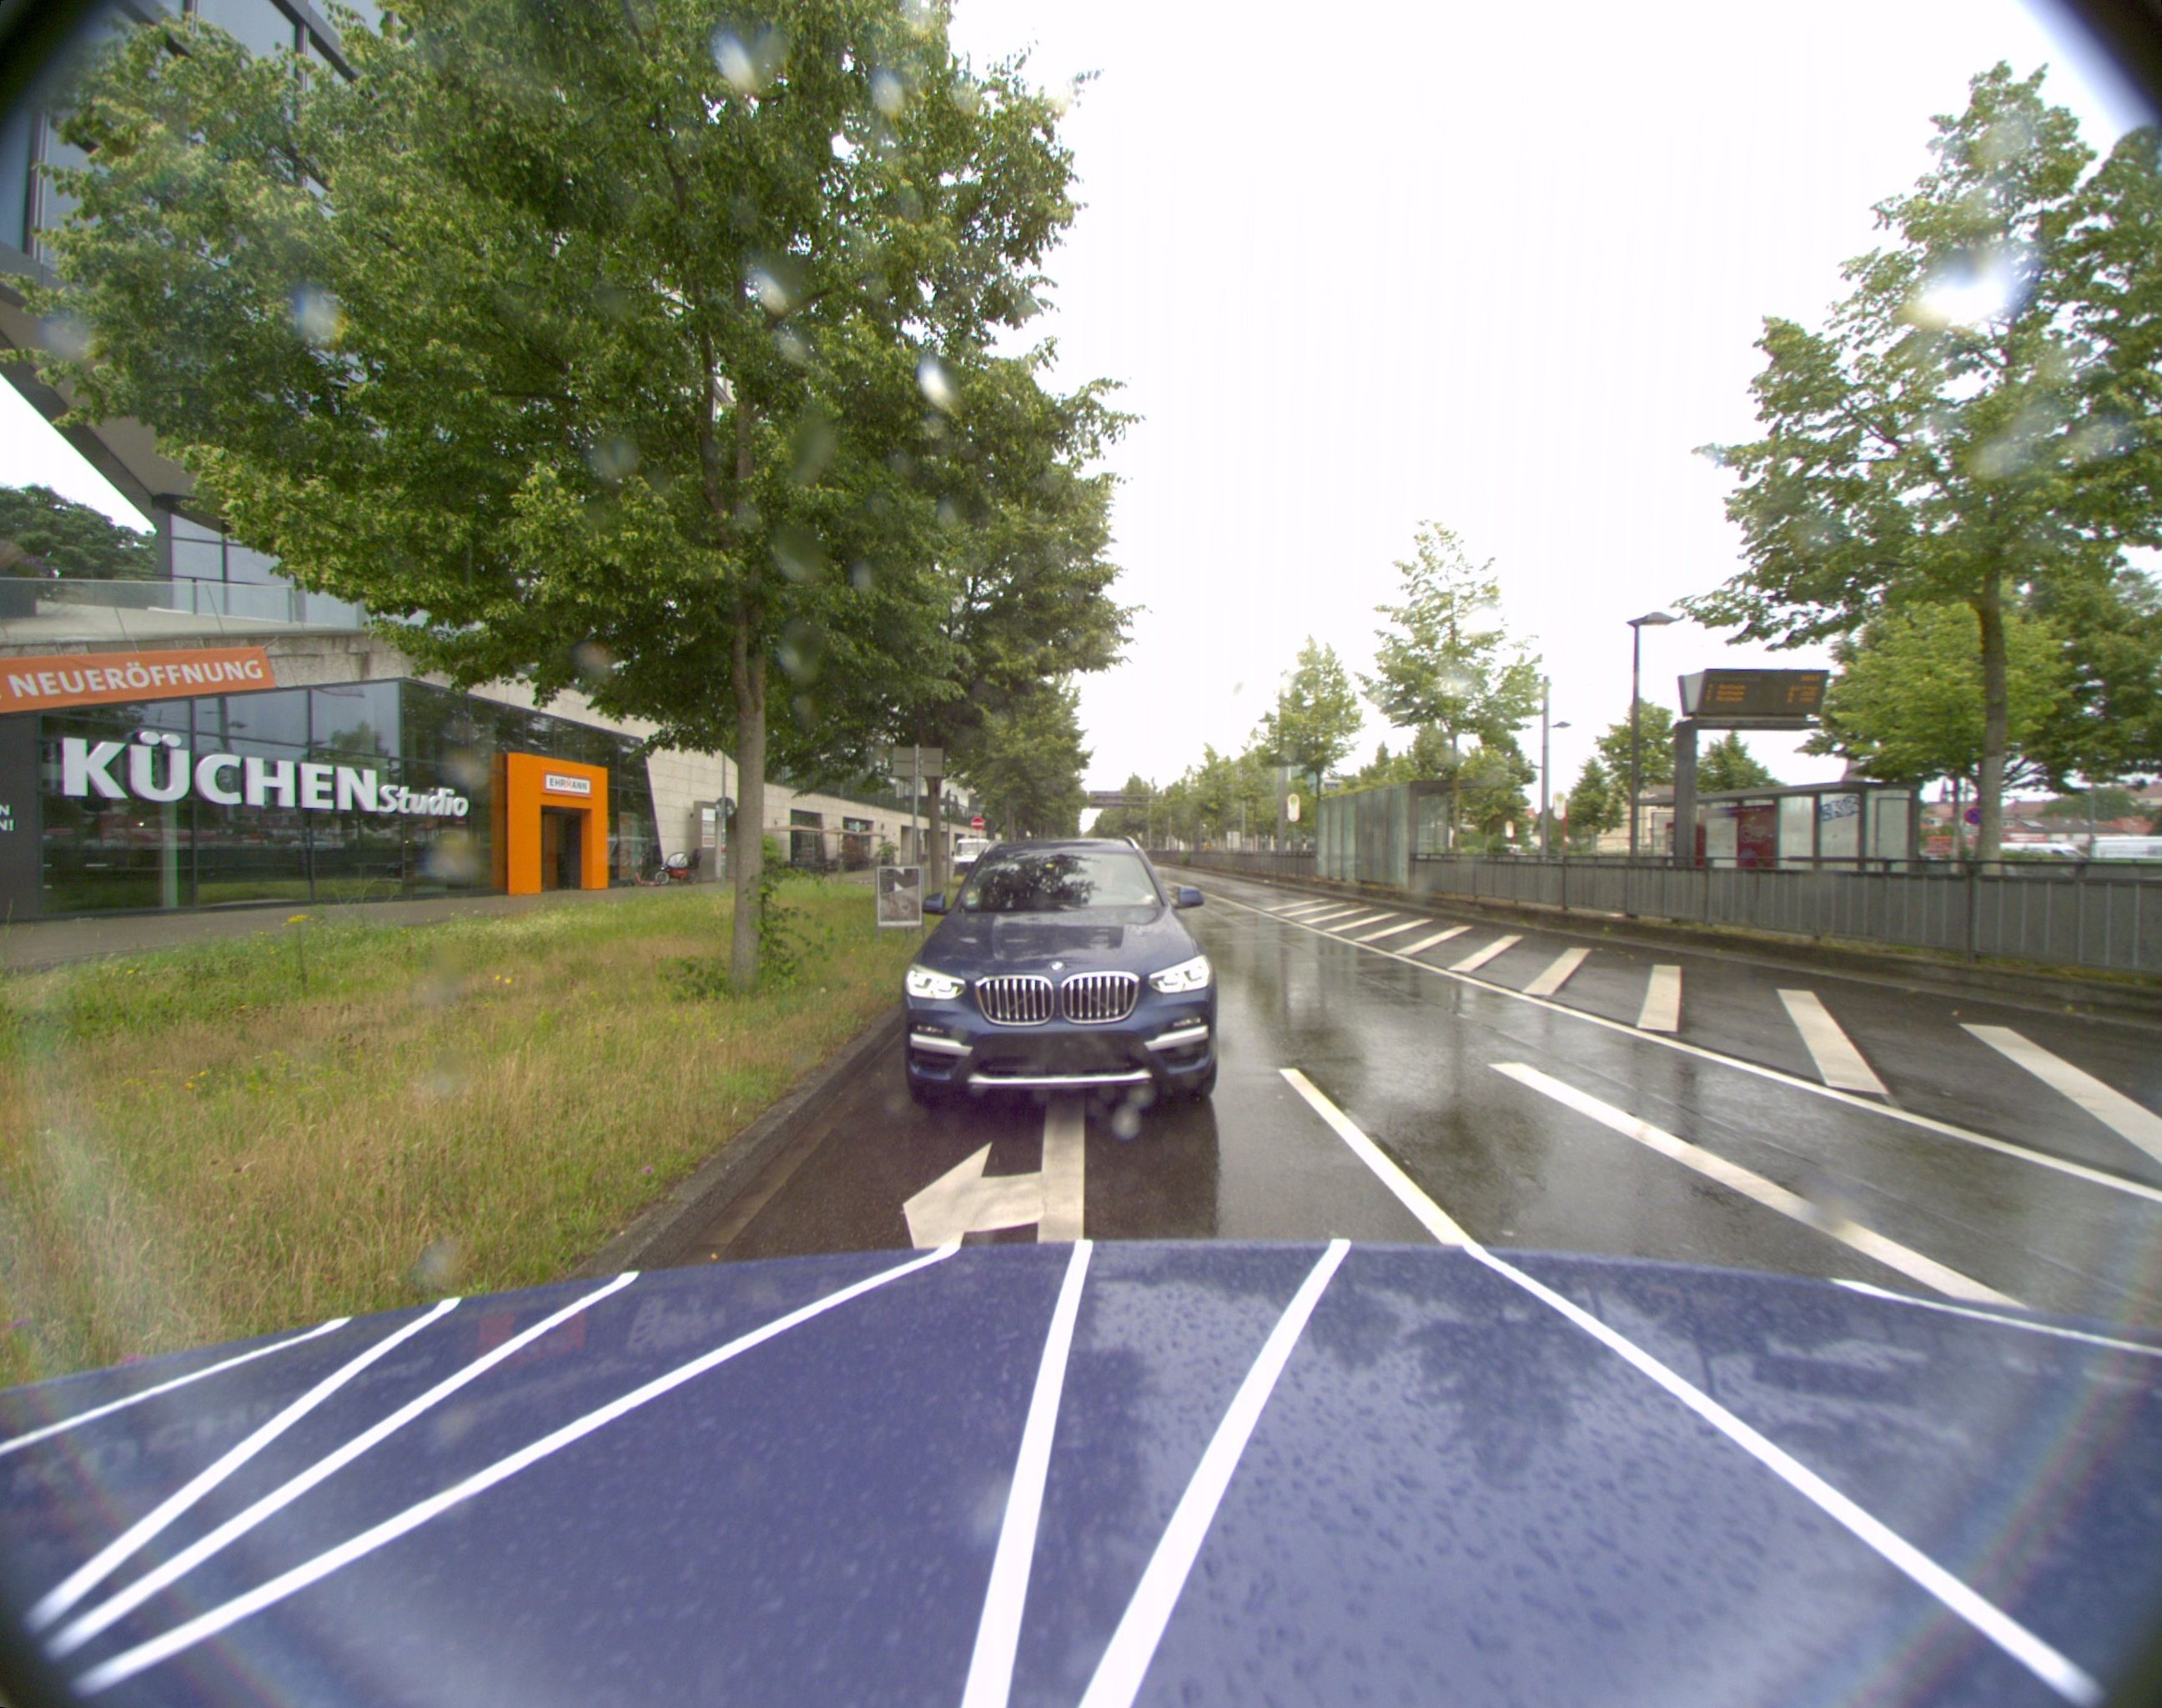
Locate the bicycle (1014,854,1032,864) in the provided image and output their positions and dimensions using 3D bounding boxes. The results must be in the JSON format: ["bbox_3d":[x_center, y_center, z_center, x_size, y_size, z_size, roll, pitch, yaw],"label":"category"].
[{"bbox_3d":[-5.578,0.496,72.987,1.699,0.940,0.395,-2,2,-4],"label":"bicycle"}]

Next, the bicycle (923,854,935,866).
[{"bbox_3d":[-12.920,0.484,64.657,0.402,0.940,1.859,-1,1,8],"label":"bicycle"}]

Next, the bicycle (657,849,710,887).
[{"bbox_3d":[-15.412,0.511,29.545,0.734,1.394,2.425,1,0,1],"label":"bicycle"}]

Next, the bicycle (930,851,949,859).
[{"bbox_3d":[-15.919,0.102,85.407,2.029,0.940,0.395,1,1,-4],"label":"bicycle"}]

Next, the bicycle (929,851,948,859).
[{"bbox_3d":[-15.892,0.122,84.829,2.029,0.940,0.395,1,1,-4],"label":"bicycle"}]

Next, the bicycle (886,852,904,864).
[{"bbox_3d":[-15.210,0.370,62.022,0.396,0.940,2.024,-4,2,-45],"label":"bicycle"}]

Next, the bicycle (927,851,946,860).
[{"bbox_3d":[-15.859,0.136,83.533,2.029,0.940,0.395,1,1,-4],"label":"bicycle"}]

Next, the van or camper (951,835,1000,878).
[{"bbox_3d":[-5.934,0.094,43.391,2.030,2.279,5.458,-1,1,0],"label":"van or camper"}]

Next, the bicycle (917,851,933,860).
[{"bbox_3d":[-16.328,0.189,79.681,1.657,0.940,0.347,1,2,19],"label":"bicycle"}]

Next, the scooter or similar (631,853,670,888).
[{"bbox_3d":[-15.672,0.593,27.681,0.342,1.221,1.242,-2,2,19],"label":"scooter or similar"}]

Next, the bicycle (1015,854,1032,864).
[{"bbox_3d":[-5.585,0.462,73.649,1.649,0.940,0.395,-2,2,-4],"label":"bicycle"}]

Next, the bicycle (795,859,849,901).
[{"bbox_3d":[-8.610,0.858,25.273,1.843,1.338,0.533,-1,0,26],"label":"bicycle"}]

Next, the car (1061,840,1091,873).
[{"bbox_3d":[-0.347,0.144,55.399,1.998,2.232,3.999,-2,1,1],"label":"car"}]

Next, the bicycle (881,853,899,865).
[{"bbox_3d":[-15.429,0.391,61.374,0.396,0.940,2.024,-4,2,-45],"label":"bicycle"}]

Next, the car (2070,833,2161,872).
[{"bbox_3d":[70.096,-0.142,49.622,1.999,2.448,6.744,-2,1,-4],"label":"car"}]

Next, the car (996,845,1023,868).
[{"bbox_3d":[-5.837,0.155,62.272,1.746,1.749,4.847,-1,1,0],"label":"car"}]

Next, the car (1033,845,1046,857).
[{"bbox_3d":[-6.030,-0.462,111.464,1.659,1.711,3.999,-2,1,0],"label":"car"}]

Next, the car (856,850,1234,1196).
[{"bbox_3d":[-0.145,0.841,5.783,1.816,1.603,3.999,-2,1,1],"label":"car"}]

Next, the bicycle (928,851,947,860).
[{"bbox_3d":[-15.906,0.128,84.217,2.029,0.940,0.395,1,1,-4],"label":"bicycle"}]

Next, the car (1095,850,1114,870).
[{"bbox_3d":[2.748,0.692,89.626,1.998,2.232,3.999,-2,1,1],"label":"car"}]

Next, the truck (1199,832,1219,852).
[{"bbox_3d":[25.071,-2.407,149.588,2.693,3.756,9.182,-2,1,3],"label":"truck"}]

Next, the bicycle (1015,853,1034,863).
[{"bbox_3d":[-5.617,0.412,75.489,1.882,0.940,0.395,-2,2,-4],"label":"bicycle"}]

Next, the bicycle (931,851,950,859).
[{"bbox_3d":[-15.996,0.093,86.654,2.029,0.940,0.395,1,1,-4],"label":"bicycle"}]

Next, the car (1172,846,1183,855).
[{"bbox_3d":[22.880,-0.796,180.337,1.762,2.002,3.998,0,1,-3],"label":"car"}]

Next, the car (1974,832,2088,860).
[{"bbox_3d":[84.247,-0.749,67.560,2.000,2.293,6.138,-3,1,-9],"label":"car"}]
